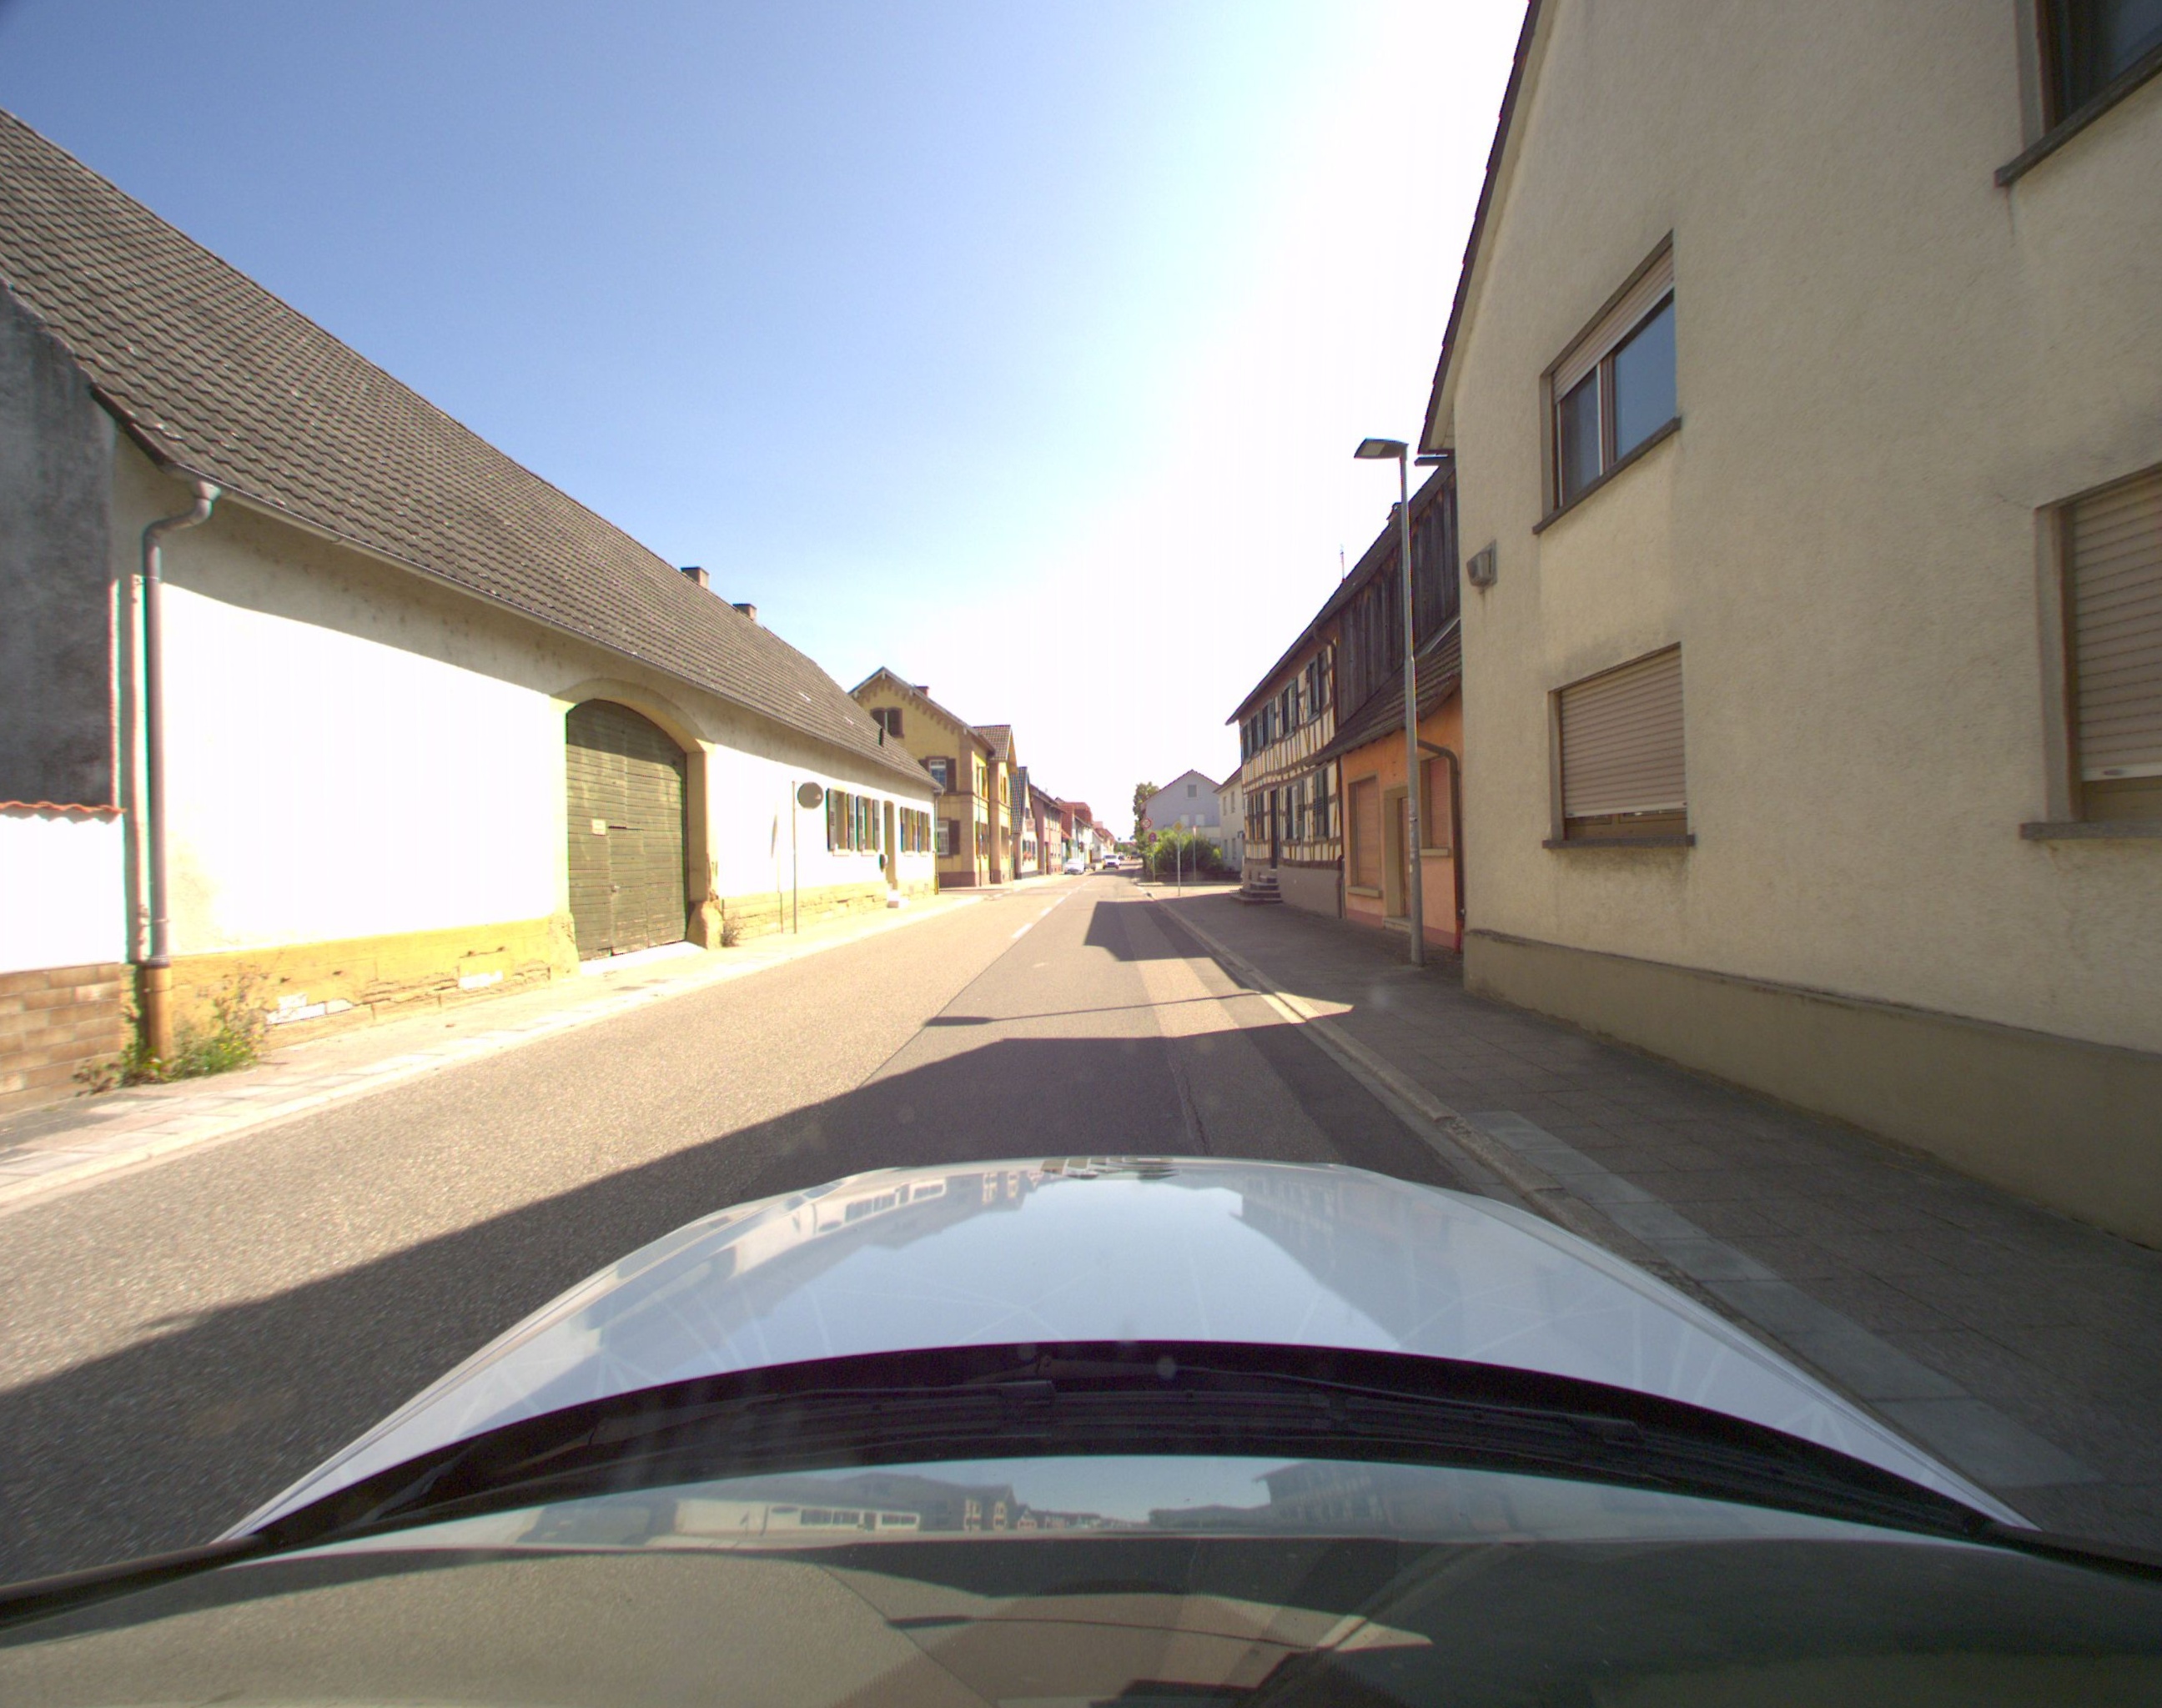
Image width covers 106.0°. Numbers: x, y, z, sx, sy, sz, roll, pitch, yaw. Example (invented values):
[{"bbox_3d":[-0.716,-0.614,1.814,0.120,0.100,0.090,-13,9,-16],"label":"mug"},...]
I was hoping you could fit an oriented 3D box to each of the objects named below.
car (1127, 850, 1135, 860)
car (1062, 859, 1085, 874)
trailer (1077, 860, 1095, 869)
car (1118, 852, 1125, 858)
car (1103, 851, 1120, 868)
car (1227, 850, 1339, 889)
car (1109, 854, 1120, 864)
[{"bbox_3d":[13.553,0.289,221.467,2.010,2.567,4.002,-2,0,2],"label":"car"},{"bbox_3d":[-0.694,1.204,80.307,1.986,1.442,4.002,-2,0,2],"label":"car"},{"bbox_3d":[0.584,1.223,96.387,1.986,1.090,4.001,-1,0,1],"label":"trailer"},{"bbox_3d":[10.649,0.297,215.846,1.860,1.544,3.840,-2,0,2],"label":"car"},{"bbox_3d":[3.919,0.757,105.845,2.150,2.080,4.000,-2,-2,1],"label":"car"},{"bbox_3d":[8.114,0.608,32.986,3.977,1.442,1.998,-2,0,-2],"label":"car"},{"bbox_3d":[6.091,0.862,146.725,1.985,1.750,4.003,-1,0,3],"label":"car"}]
